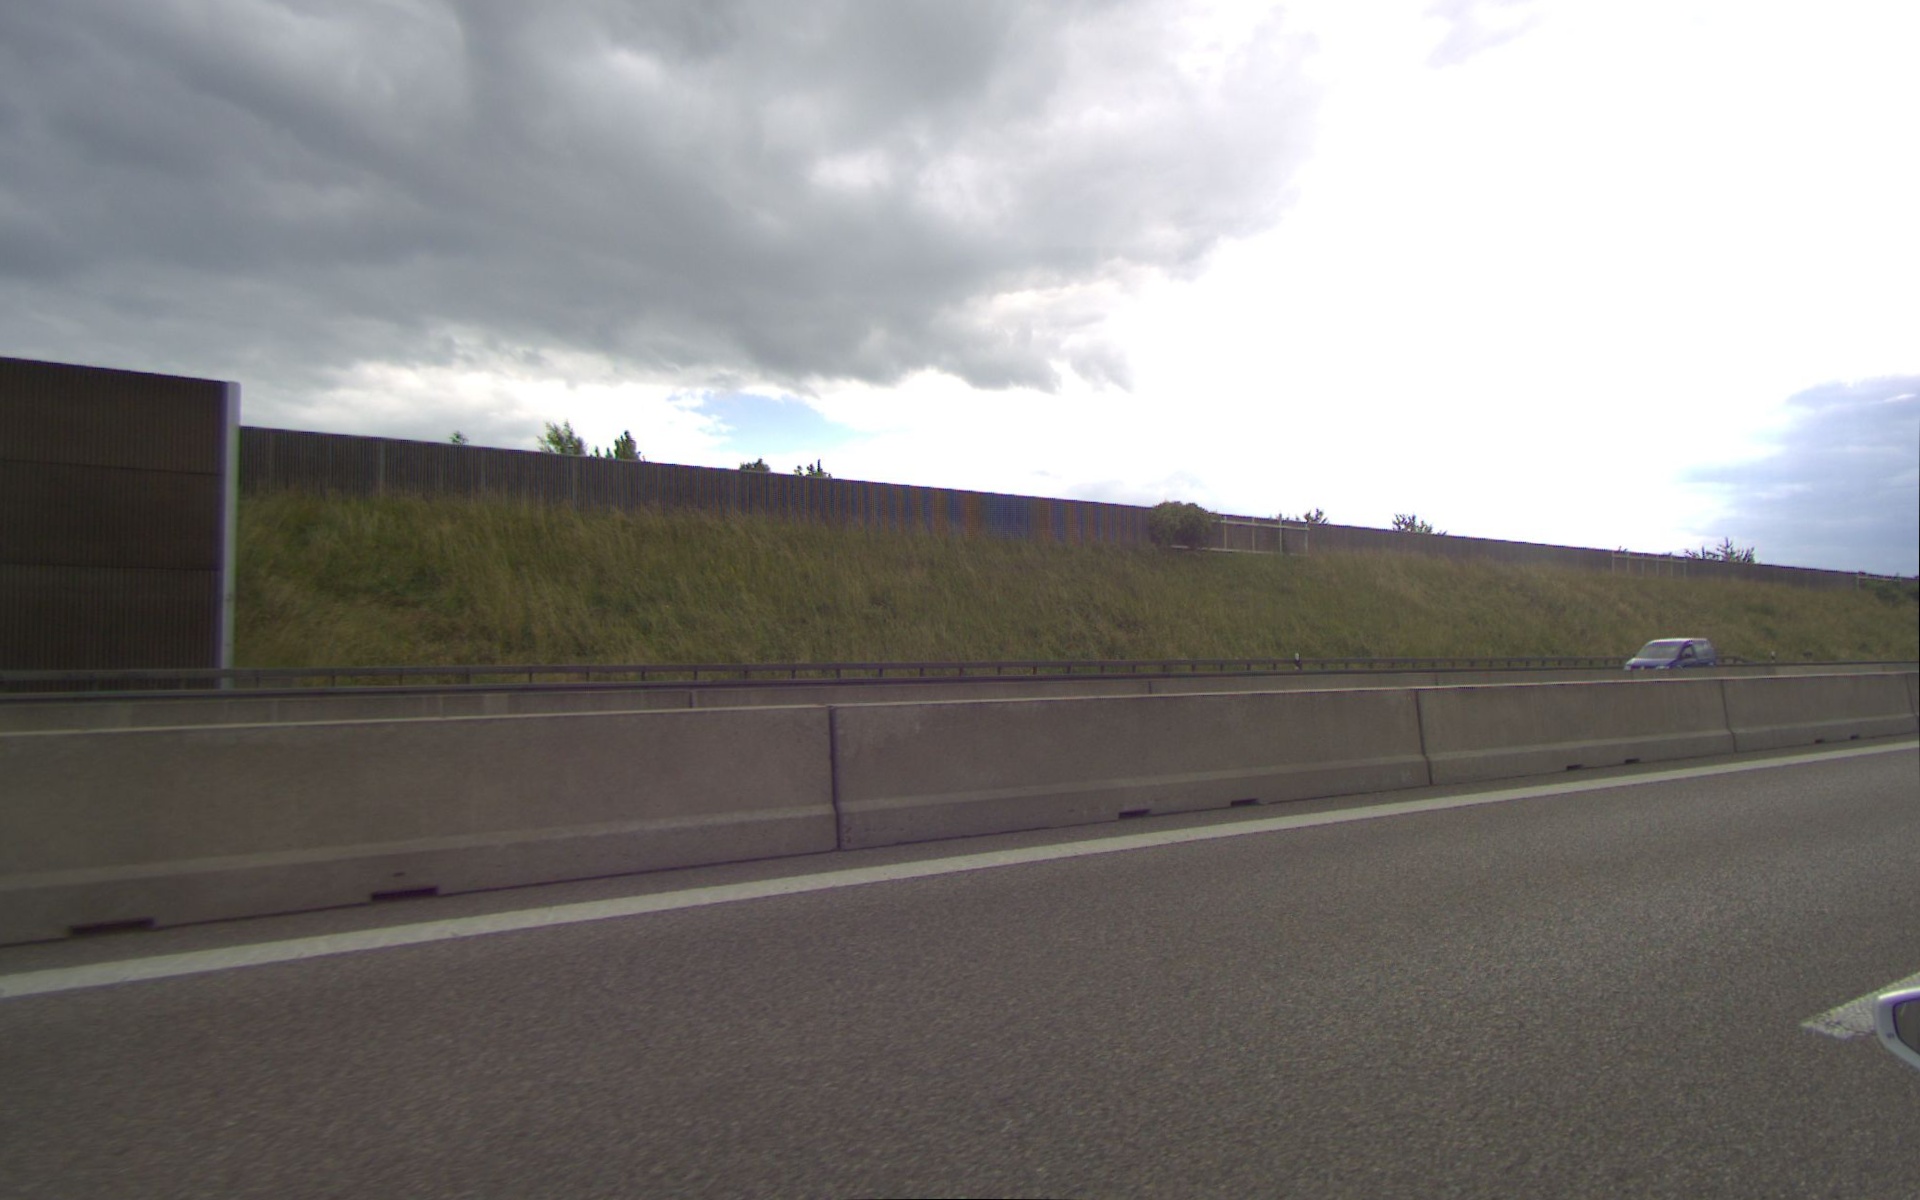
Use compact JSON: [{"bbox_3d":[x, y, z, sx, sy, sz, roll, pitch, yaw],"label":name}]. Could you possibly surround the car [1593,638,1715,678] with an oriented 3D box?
[{"bbox_3d":[26.587,2.194,38.453,4.883,1.382,1.984,2,0,-31],"label":"car"}]
